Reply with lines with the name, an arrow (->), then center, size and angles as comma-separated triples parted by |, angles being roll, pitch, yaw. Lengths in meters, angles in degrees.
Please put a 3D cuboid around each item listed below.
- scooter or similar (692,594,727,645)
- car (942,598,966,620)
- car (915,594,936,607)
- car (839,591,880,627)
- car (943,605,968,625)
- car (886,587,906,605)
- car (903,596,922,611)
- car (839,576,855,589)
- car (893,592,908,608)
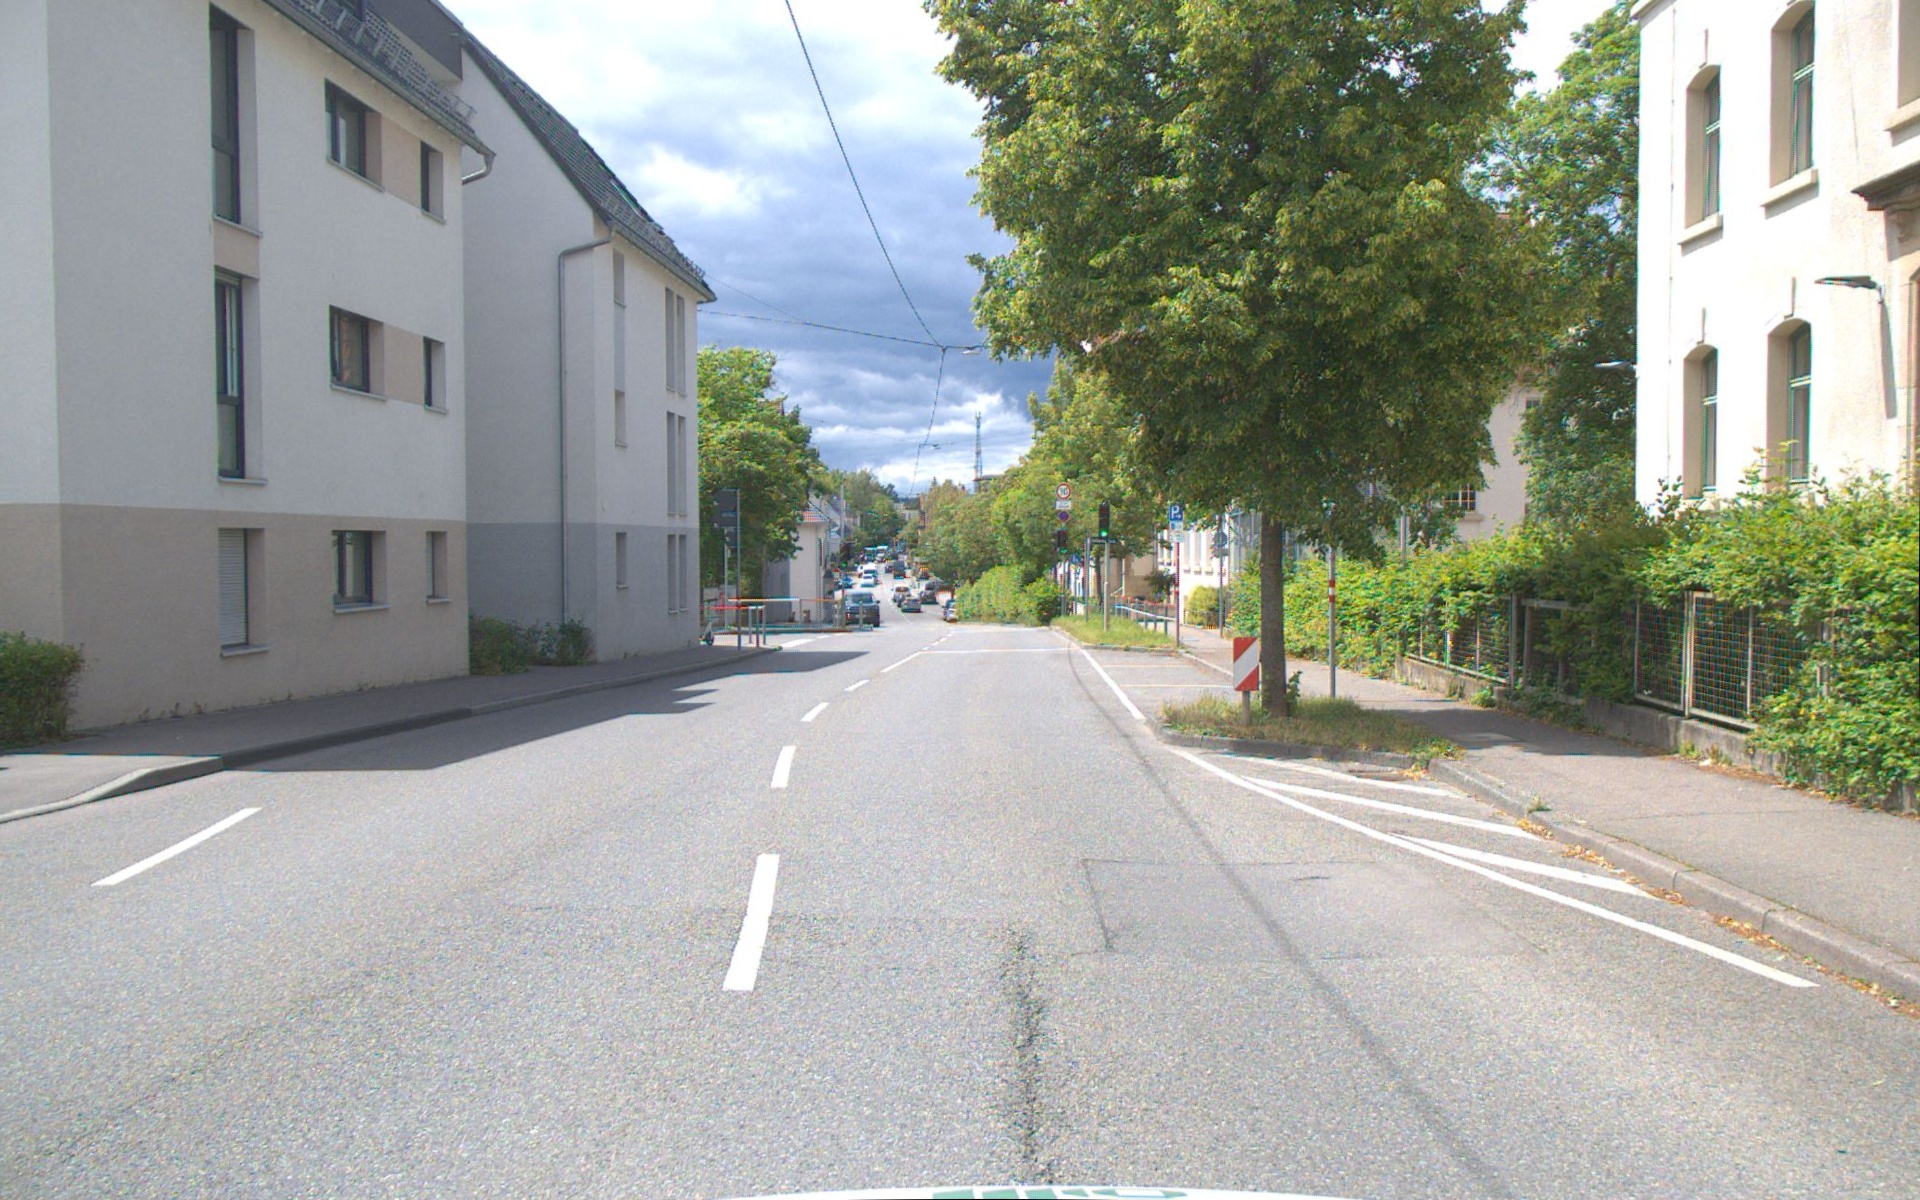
scooter or similar -> -6.461, 0.501, 42.677 | 0.484, 1.283, 1.295 | -1, 0, -27
car -> -0.547, 0.752, 139.635 | 1.807, 1.798, 4.512 | 0, 0, -3
car -> -3.755, 0.052, 180.342 | 1.720, 1.395, 3.992 | 0, 0, -9
car -> -4.659, 0.399, 77.102 | 1.759, 1.638, 4.644 | 0, 0, -1
car -> -0.384, 1.210, 133.862 | 1.751, 1.535, 4.361 | 0, 0, -3
car -> -7.080, -0.474, 183.269 | 1.802, 1.894, 3.843 | 0, 1, -8
car -> -4.744, 0.348, 164.448 | 1.710, 1.441, 3.997 | 0, 0, -4
car -> -15.189, -2.409, 222.347 | 1.835, 1.668, 3.999 | 1, 0, -1
car -> -6.249, 0.002, 174.186 | 1.250, 1.553, 3.045 | -1, 3, -8
